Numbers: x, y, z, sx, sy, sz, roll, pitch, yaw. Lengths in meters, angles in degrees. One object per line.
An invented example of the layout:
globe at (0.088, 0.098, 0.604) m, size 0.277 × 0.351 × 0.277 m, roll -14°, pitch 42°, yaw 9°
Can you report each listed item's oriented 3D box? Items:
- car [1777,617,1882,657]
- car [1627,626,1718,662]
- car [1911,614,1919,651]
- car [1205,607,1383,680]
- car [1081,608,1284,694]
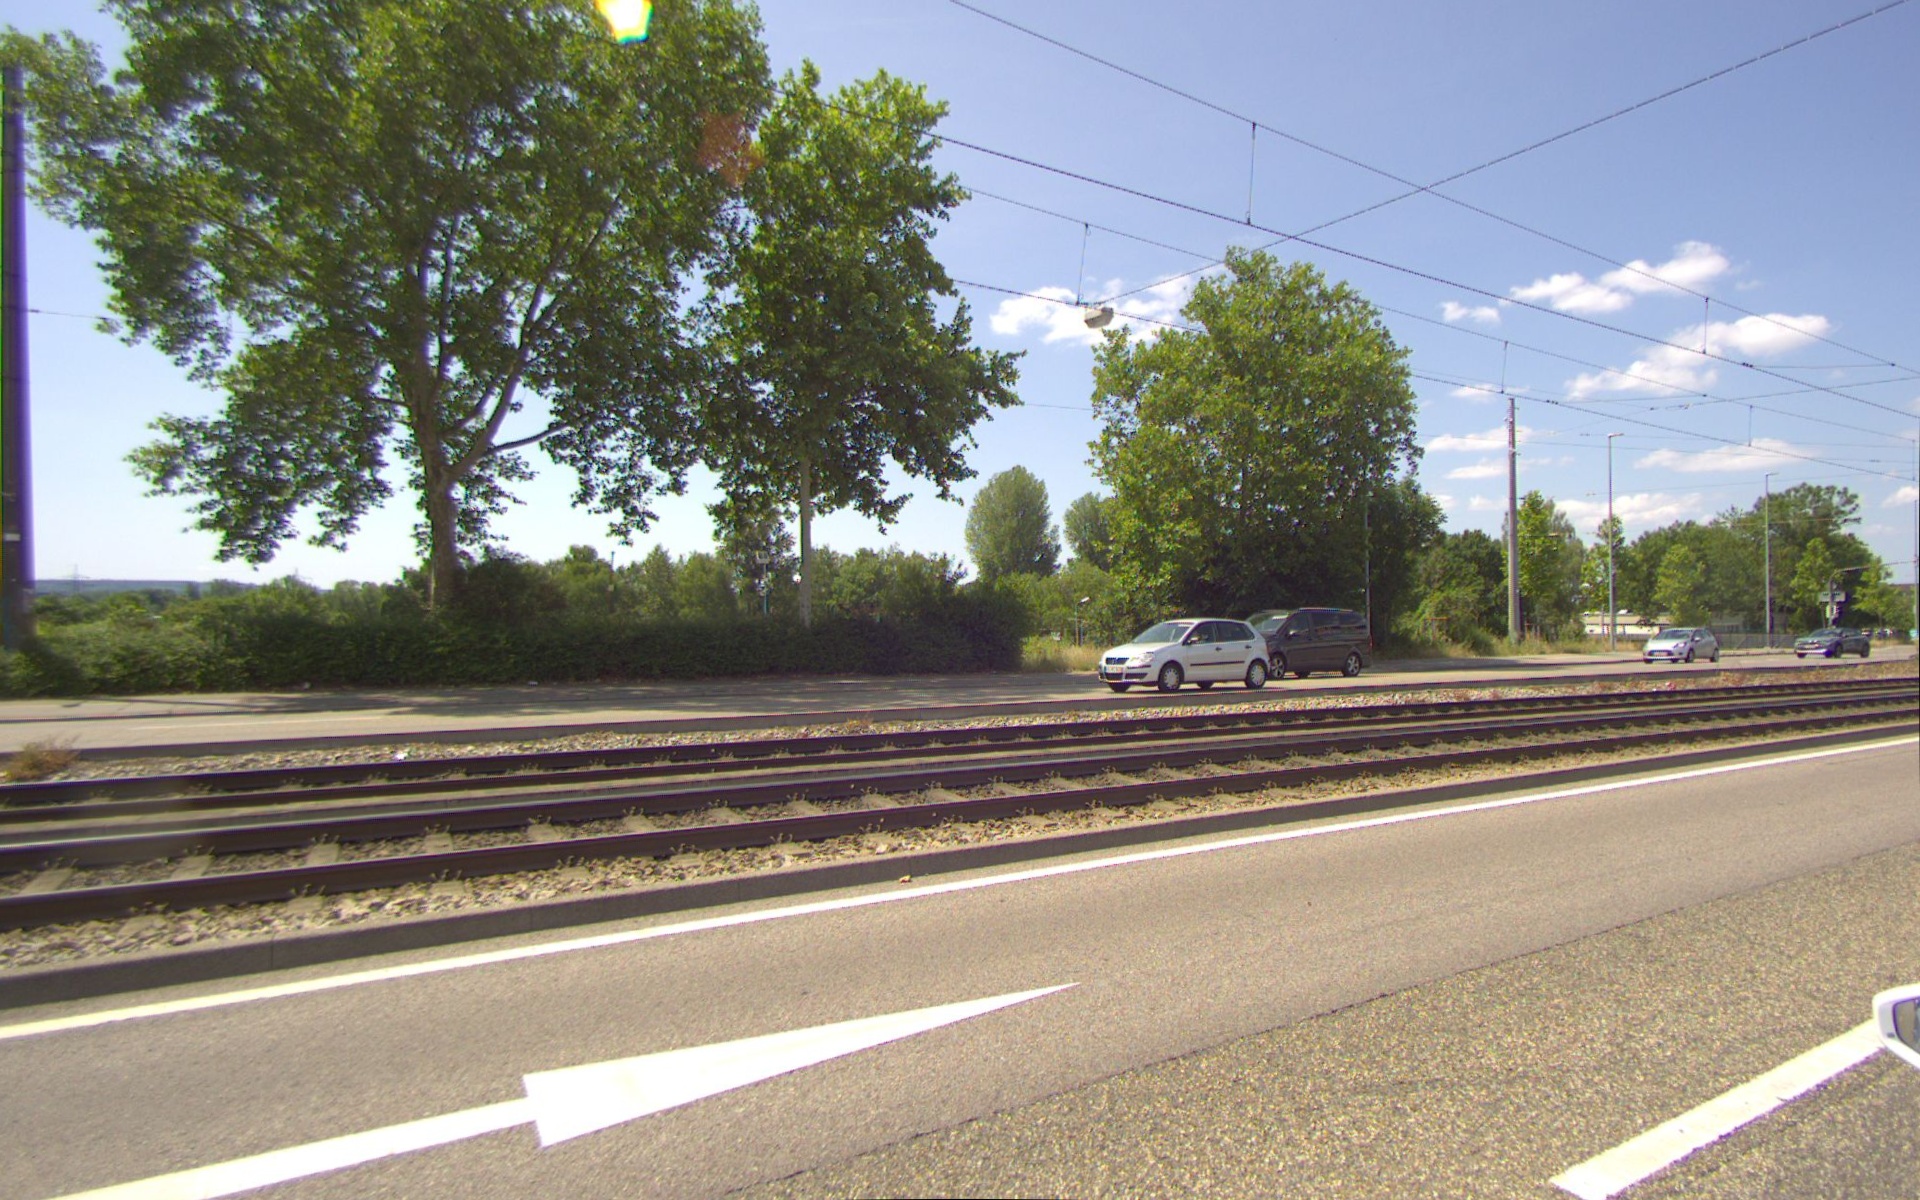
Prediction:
car at (44.955, 1.926, 51.969) m, size 4.337 × 1.944 × 1.994 m, roll 1°, pitch 1°, yaw -15°
car at (29.684, 1.845, 41.827) m, size 3.842 × 1.434 × 1.812 m, roll 1°, pitch -3°, yaw -33°
car at (72.055, 2.322, 73.299) m, size 6.164 × 2.623 × 2.232 m, roll 0°, pitch -3°, yaw -32°
car at (9.243, 1.172, 27.683) m, size 4.914 × 1.854 × 1.983 m, roll 1°, pitch -3°, yaw -32°
car at (4.583, 1.016, 20.533) m, size 4.013 × 1.604 × 1.677 m, roll 1°, pitch -3°, yaw -32°
